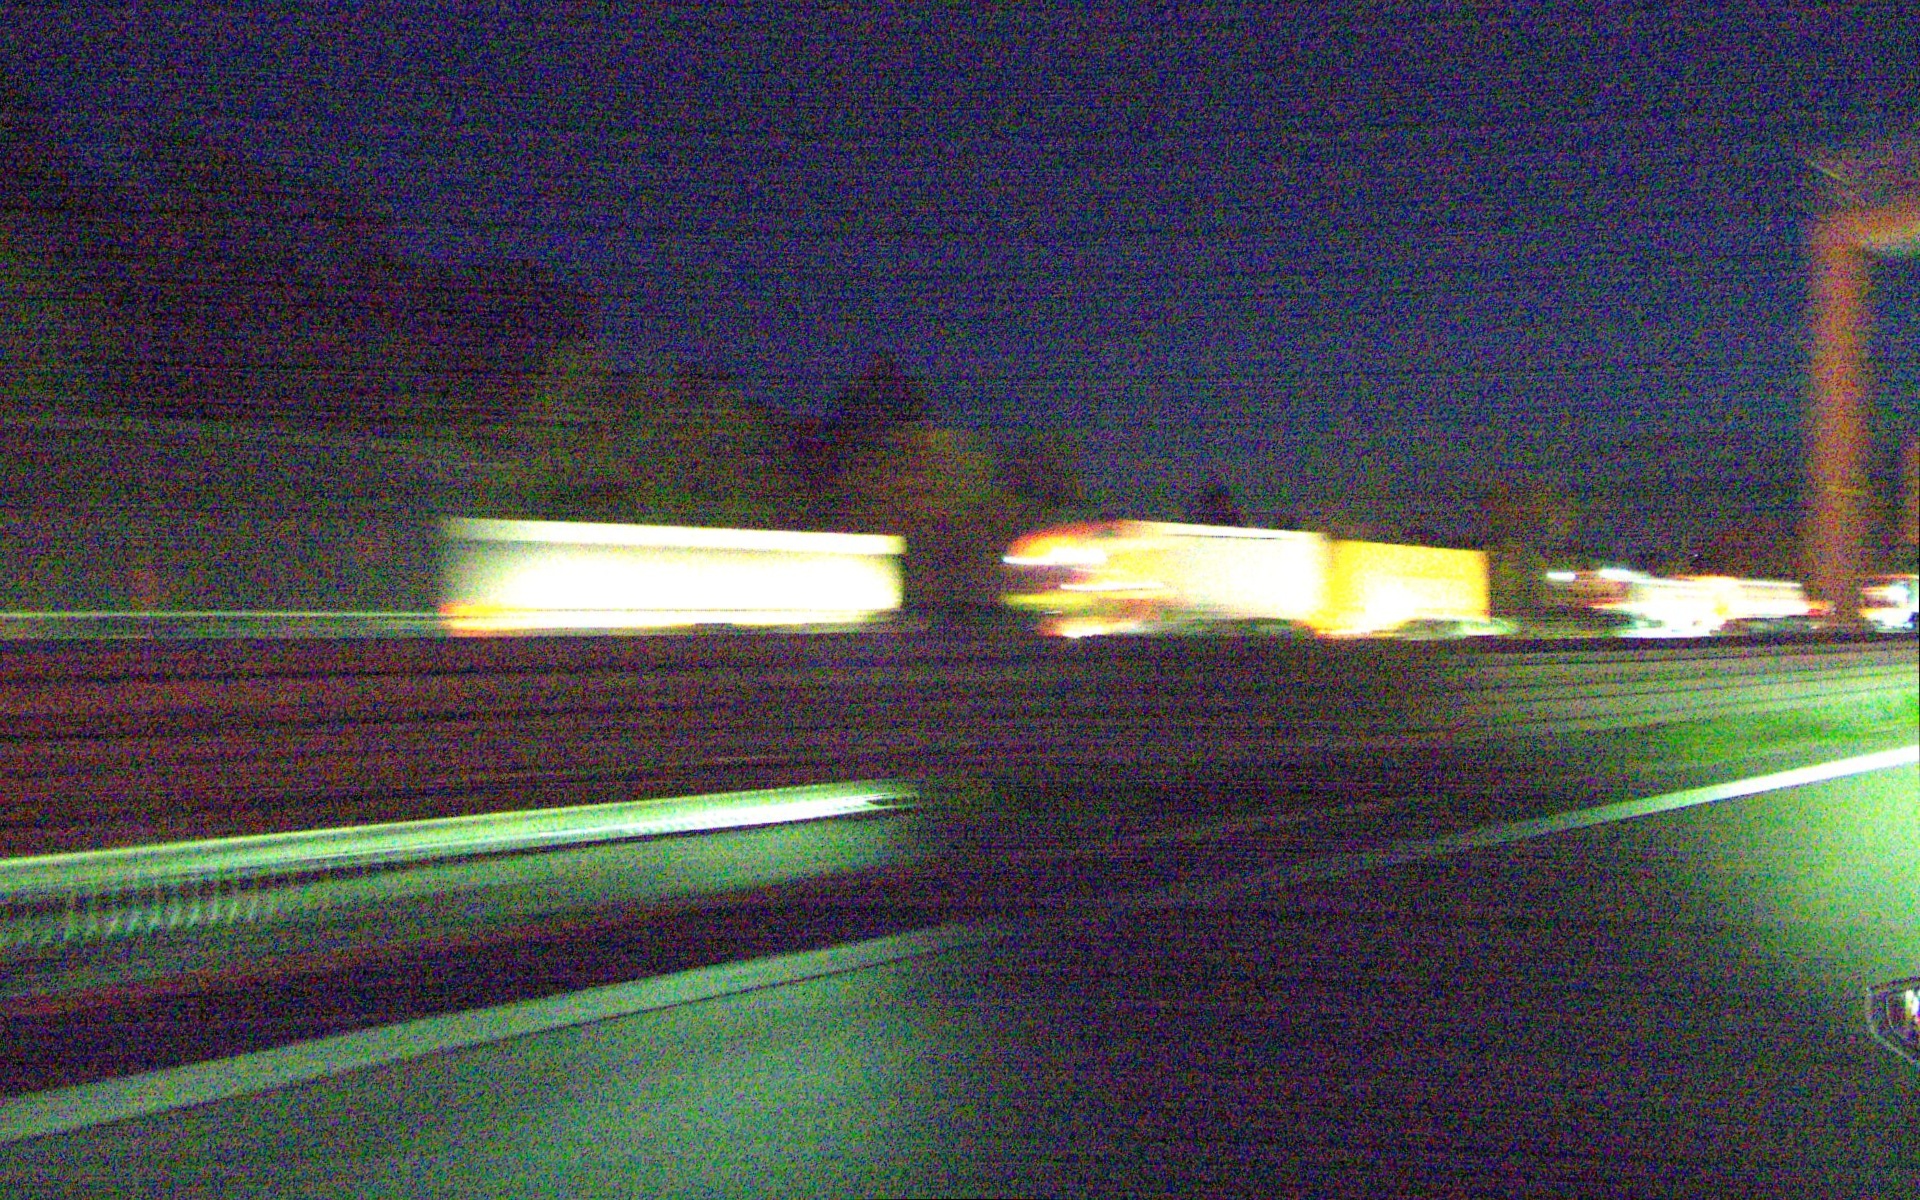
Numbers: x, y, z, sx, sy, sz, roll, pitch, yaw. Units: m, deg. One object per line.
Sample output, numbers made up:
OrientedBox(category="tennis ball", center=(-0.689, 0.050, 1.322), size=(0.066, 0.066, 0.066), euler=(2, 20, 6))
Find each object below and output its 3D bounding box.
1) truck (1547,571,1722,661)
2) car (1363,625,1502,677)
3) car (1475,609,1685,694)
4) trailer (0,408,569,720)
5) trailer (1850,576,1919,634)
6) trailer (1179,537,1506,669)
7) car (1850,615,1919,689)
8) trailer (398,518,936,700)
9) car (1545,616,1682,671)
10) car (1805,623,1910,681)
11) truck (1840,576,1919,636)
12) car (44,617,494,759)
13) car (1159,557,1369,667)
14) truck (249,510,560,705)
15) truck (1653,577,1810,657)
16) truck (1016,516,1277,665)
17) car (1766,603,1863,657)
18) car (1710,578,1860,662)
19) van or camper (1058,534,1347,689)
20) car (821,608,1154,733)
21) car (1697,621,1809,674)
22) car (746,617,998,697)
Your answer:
OrientedBox(category="truck", center=(24.799, 0.639, 36.814), size=(7.370, 3.025, 2.542), euler=(2, -1, -32))
OrientedBox(category="car", center=(13.496, 1.410, 28.634), size=(3.955, 1.372, 1.706), euler=(1, -1, -31))
OrientedBox(category="car", center=(11.034, 0.863, 17.819), size=(3.955, 1.372, 1.562), euler=(1, -1, -31))
OrientedBox(category="trailer", center=(-11.241, -0.410, 13.286), size=(11.050, 3.675, 2.382), euler=(1, 0, -31))
OrientedBox(category="trailer", center=(61.649, 0.365, 64.597), size=(13.287, 3.488, 2.943), euler=(1, 1, -32))
OrientedBox(category="trailer", center=(12.952, 0.191, 33.078), size=(12.985, 3.724, 2.867), euler=(1, -1, -32))
OrientedBox(category="car", center=(28.655, 1.550, 30.062), size=(3.957, 2.040, 1.982), euler=(2, 1, -33))
OrientedBox(category="trailer", center=(-5.887, 0.268, 21.959), size=(11.058, 3.253, 2.380), euler=(1, 0, -33))
OrientedBox(category="car", center=(17.693, 1.141, 27.146), size=(3.954, 1.372, 1.562), euler=(1, -1, -31))
OrientedBox(category="car", center=(34.380, 1.975, 38.480), size=(3.957, 2.040, 1.982), euler=(2, 1, -33))
OrientedBox(category="truck", center=(57.331, 0.375, 61.870), size=(6.291, 3.488, 2.943), euler=(1, 1, -32))
OrientedBox(category="car", center=(-7.468, 0.893, 11.358), size=(3.948, 1.372, 1.565), euler=(1, -1, -27))
OrientedBox(category="car", center=(6.226, 0.250, 20.502), size=(3.957, 2.040, 1.982), euler=(2, 1, -33))
OrientedBox(category="truck", center=(-10.397, 0.174, 19.059), size=(4.853, 3.253, 2.380), euler=(1, 0, -32))
OrientedBox(category="truck", center=(31.840, 0.758, 41.388), size=(7.320, 3.025, 2.748), euler=(2, -1, -32))
OrientedBox(category="truck", center=(5.328, -0.167, 28.163), size=(7.183, 3.724, 2.867), euler=(1, -1, -32))
OrientedBox(category="car", center=(47.058, 1.602, 55.259), size=(6.289, 2.755, 2.300), euler=(0, 2, -33))
OrientedBox(category="car", center=(21.799, 0.521, 26.527), size=(3.959, 2.040, 1.981), euler=(2, 1, -34))
OrientedBox(category="van or camper", center=(6.039, 0.303, 24.481), size=(7.310, 3.315, 2.420), euler=(1, -1, -32))
OrientedBox(category="car", center=(0.378, 0.811, 12.638), size=(3.948, 1.372, 1.565), euler=(1, -1, -27))
OrientedBox(category="car", center=(25.224, 1.504, 31.924), size=(3.937, 1.506, 1.687), euler=(2, 1, -34))
OrientedBox(category="car", center=(-1.625, 1.034, 19.153), size=(4.585, 1.372, 1.564), euler=(1, -1, -29))
